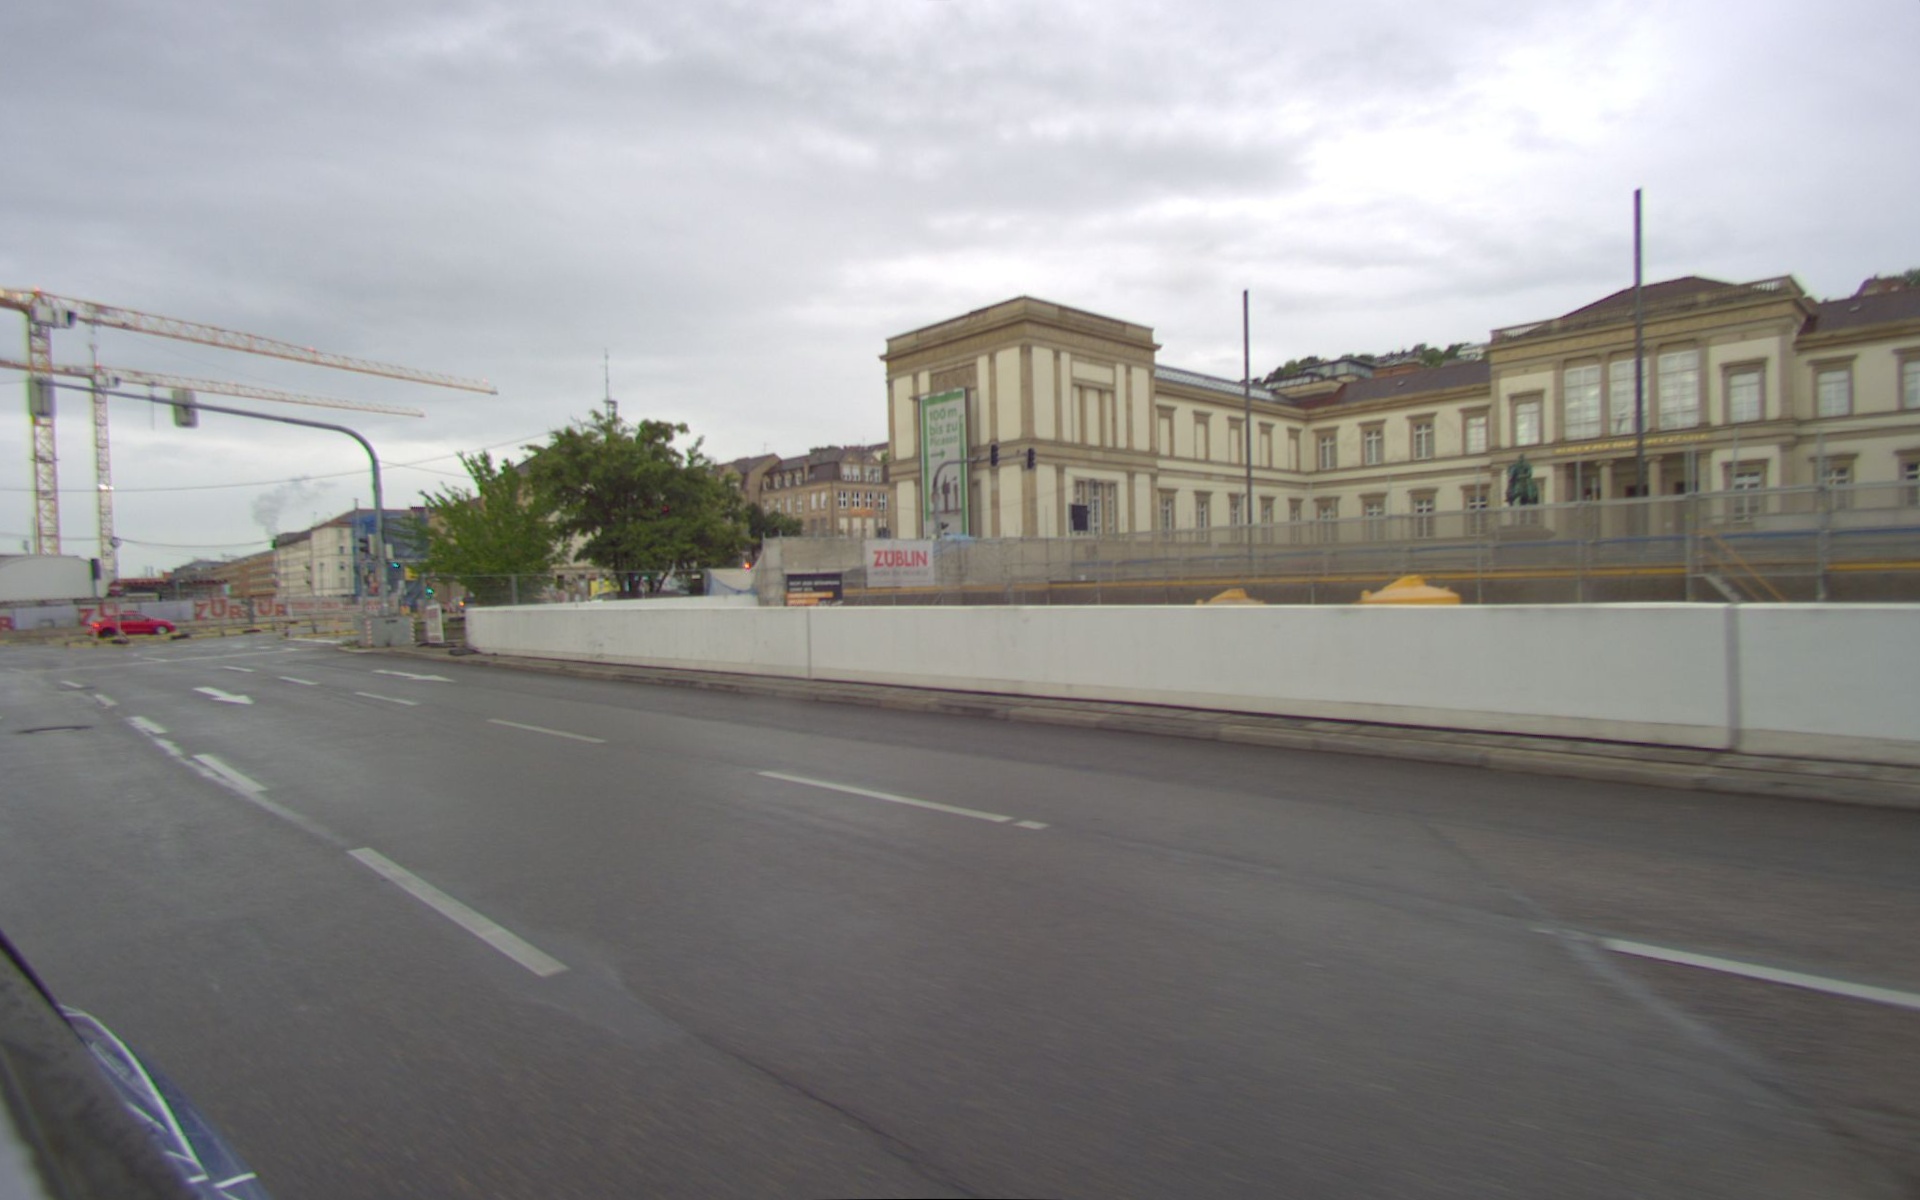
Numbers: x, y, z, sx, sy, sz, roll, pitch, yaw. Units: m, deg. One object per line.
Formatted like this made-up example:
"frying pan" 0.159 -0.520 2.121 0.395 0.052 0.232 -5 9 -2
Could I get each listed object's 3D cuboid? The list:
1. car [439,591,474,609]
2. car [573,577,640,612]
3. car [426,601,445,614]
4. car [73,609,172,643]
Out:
"car" -56.113 0.038 112.723 4.684 1.852 1.972 0 4 44
"car" -22.141 -0.358 63.273 4.643 2.028 1.972 0 5 44
"car" -66.895 0.943 129.072 1.557 1.357 3.817 -5 5 -34
"car" -47.218 1.433 57.098 1.688 1.563 3.951 -1 4 38
